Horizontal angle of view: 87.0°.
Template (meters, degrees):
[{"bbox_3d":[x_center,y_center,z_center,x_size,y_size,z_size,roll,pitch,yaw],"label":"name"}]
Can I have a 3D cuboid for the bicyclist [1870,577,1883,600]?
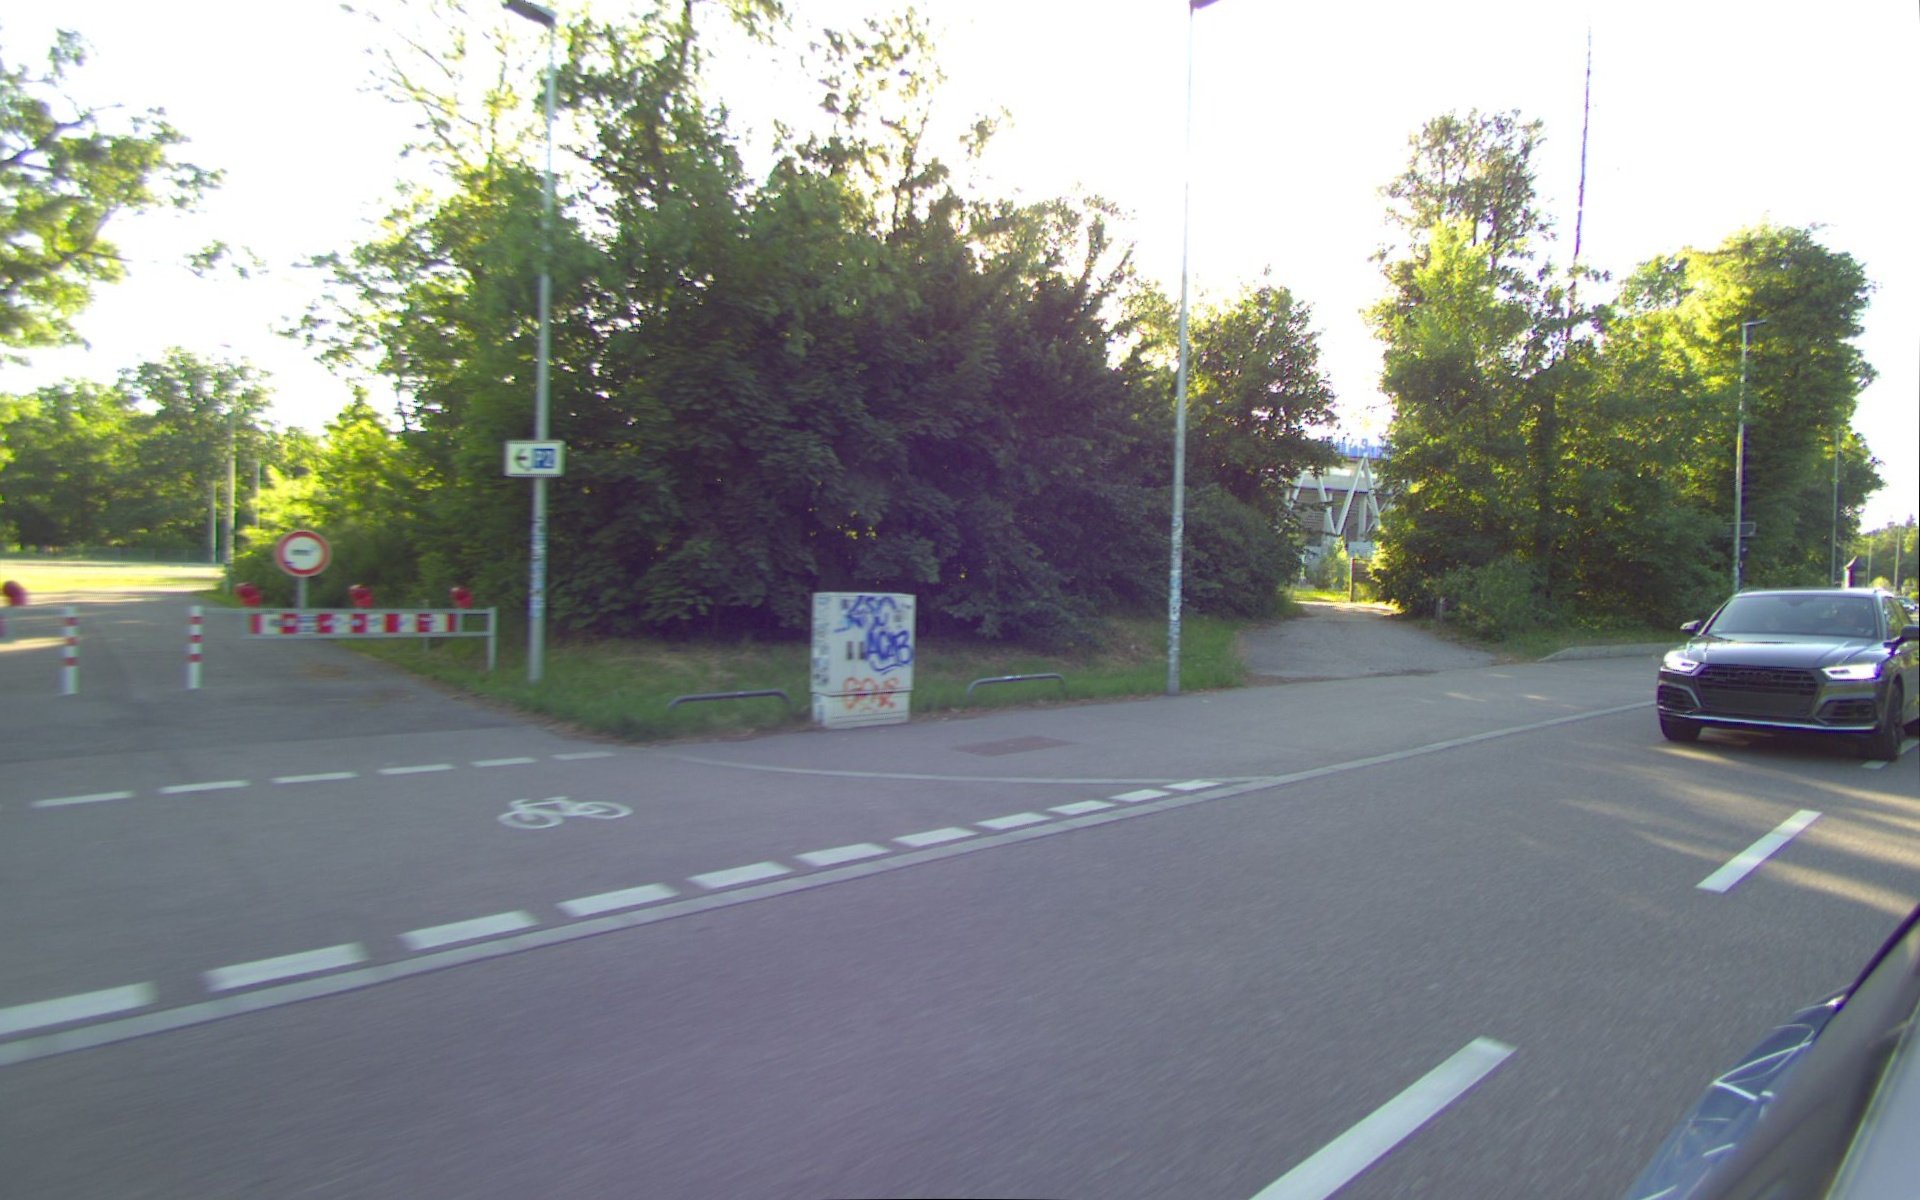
[{"bbox_3d":[60.058,-0.744,66.324,0.519,1.487,0.849,1,1,37],"label":"bicyclist"}]

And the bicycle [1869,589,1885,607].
[{"bbox_3d":[60.076,-0.166,66.325,0.553,1.151,1.839,3,2,37],"label":"bicycle"}]

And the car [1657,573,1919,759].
[{"bbox_3d":[9.397,0.555,11.046,4.465,1.625,1.896,0,1,-41],"label":"car"}]
